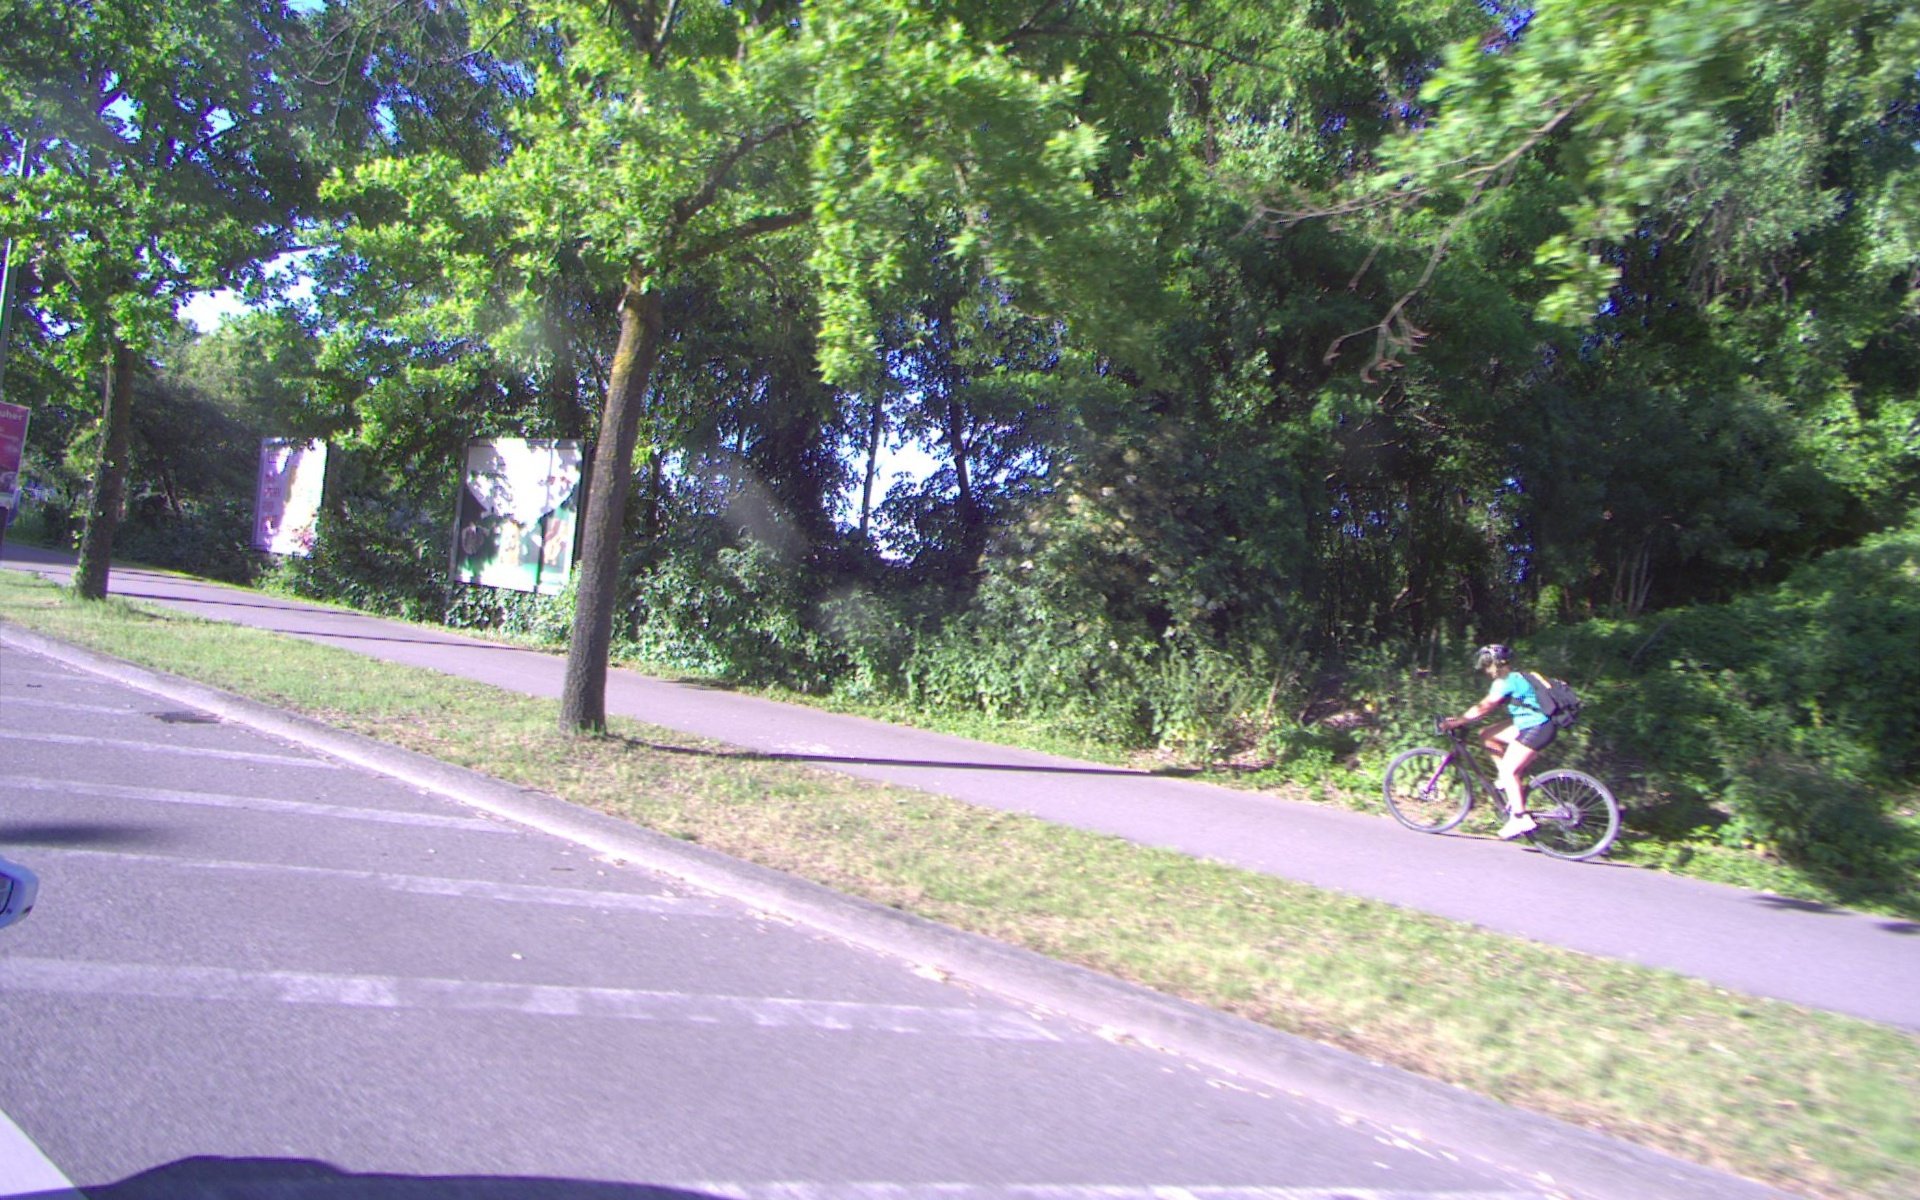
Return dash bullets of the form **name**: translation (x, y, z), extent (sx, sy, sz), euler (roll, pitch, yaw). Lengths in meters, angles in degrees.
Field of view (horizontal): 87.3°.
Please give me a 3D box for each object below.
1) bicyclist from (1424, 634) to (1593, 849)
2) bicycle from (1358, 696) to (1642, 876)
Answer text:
- **bicyclist**: translation (4.479, 1.117, 8.265), extent (1.018, 1.541, 0.686), euler (7, 0, 28)
- **bicycle**: translation (4.392, 1.473, 8.310), extent (1.902, 1.086, 0.517), euler (7, 0, 28)
